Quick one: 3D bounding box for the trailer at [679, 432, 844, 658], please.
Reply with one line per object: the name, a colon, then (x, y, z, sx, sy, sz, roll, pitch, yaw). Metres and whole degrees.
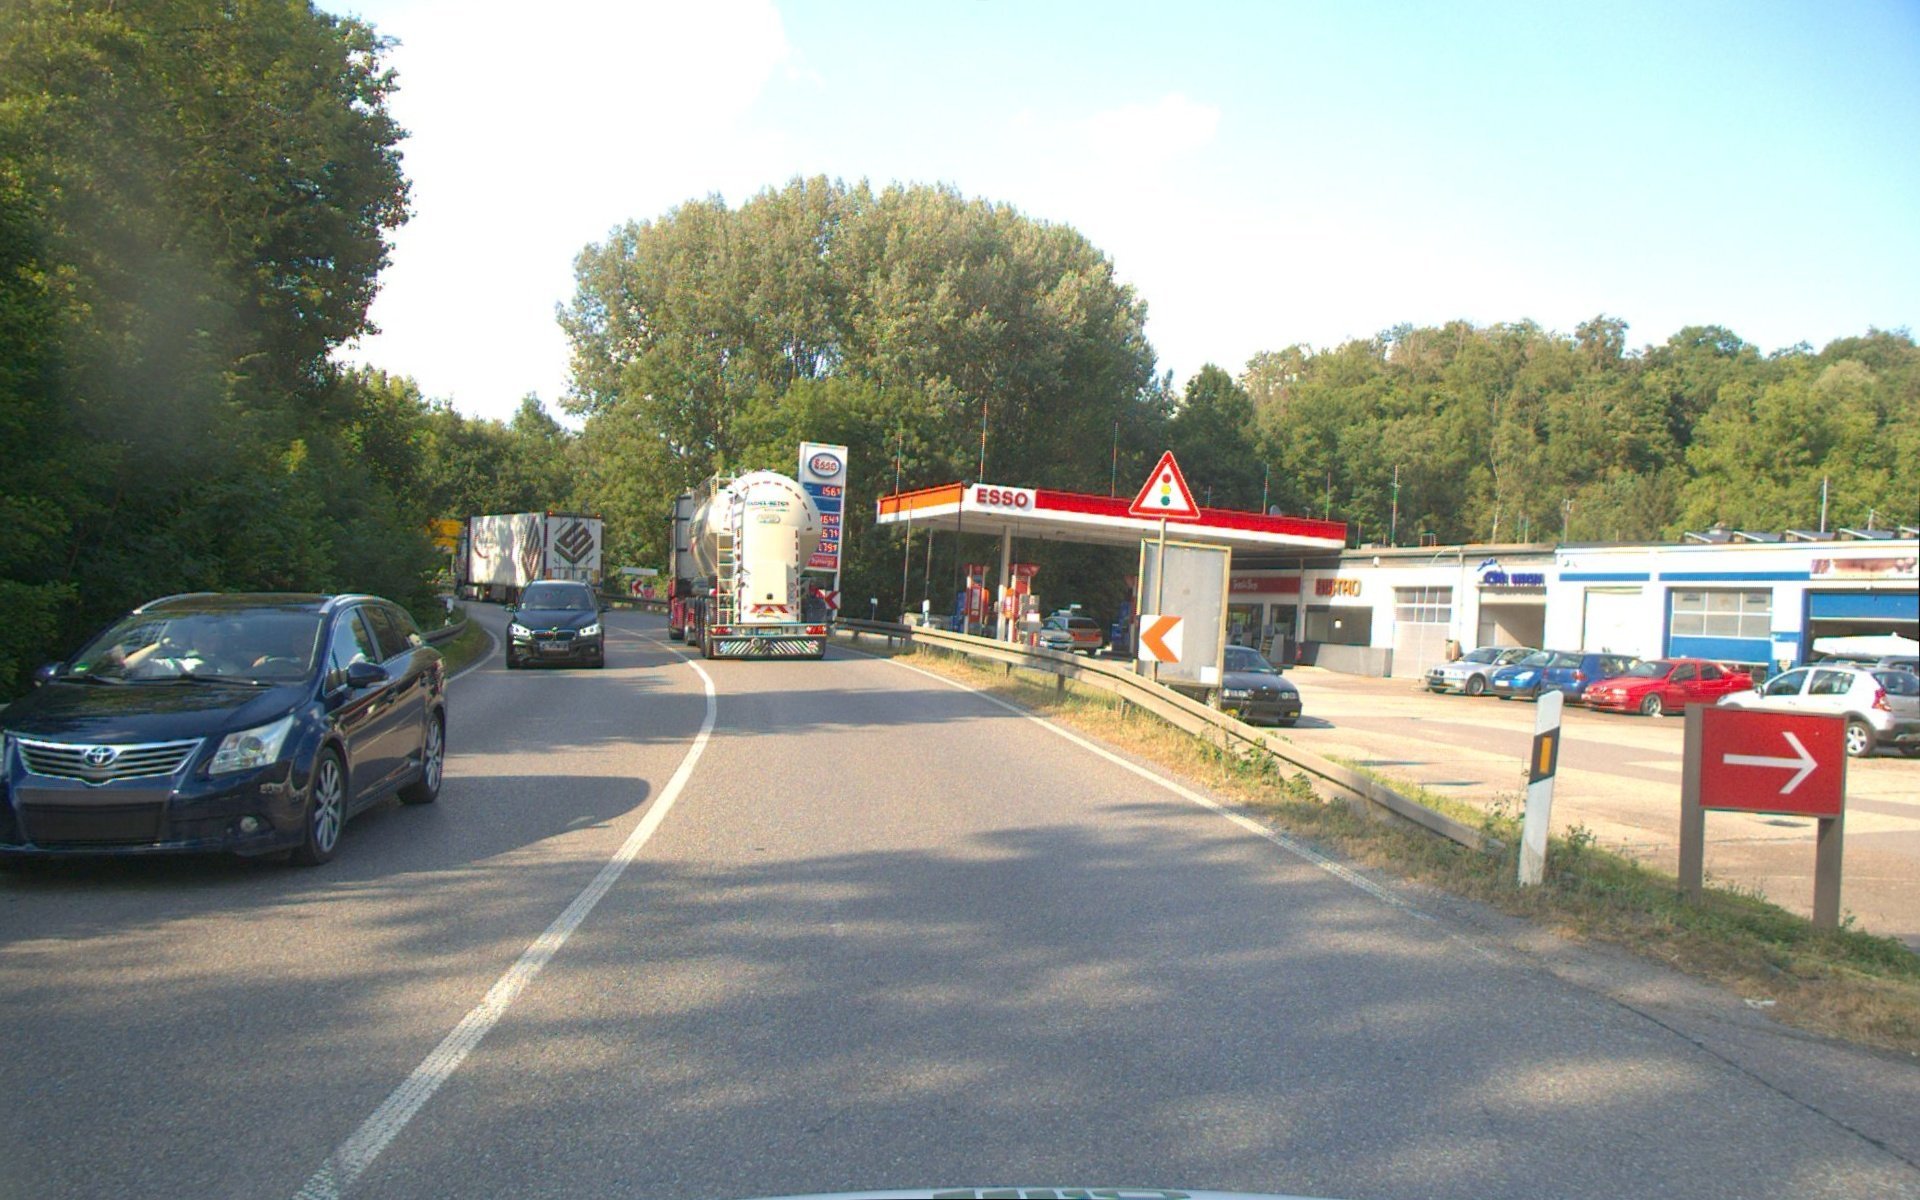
trailer: (-4.802, -1.131, 38.237, 2.836, 4.532, 9.575, 0, 0, -13)

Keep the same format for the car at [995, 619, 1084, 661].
car: (2.949, 1.474, 62.301, 1.815, 1.342, 4.364, 3, 0, -20)

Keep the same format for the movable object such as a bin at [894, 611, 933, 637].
movable object such as a bin: (-2.940, 1.509, 104.310, 1.255, 1.444, 2.527, 7, -2, -34)

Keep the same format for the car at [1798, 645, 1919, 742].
car: (19.130, 1.826, 33.213, 4.191, 1.759, 1.878, 1, 1, -24)

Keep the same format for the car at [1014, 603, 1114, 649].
car: (4.191, 1.040, 67.644, 2.062, 1.656, 5.148, 3, 0, -21)

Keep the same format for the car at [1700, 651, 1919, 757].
car: (15.845, 1.834, 30.385, 1.767, 1.624, 3.959, 1, 1, -24)

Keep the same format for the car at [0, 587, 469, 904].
car: (-4.404, 0.688, 10.259, 1.815, 1.534, 4.398, 0, 0, -6)

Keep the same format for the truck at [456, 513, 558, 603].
truck: (-22.173, -1.963, 80.767, 3.411, 4.158, 6.430, 1, -1, -28)

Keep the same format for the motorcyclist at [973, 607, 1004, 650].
motorcyclist: (1.125, 1.117, 65.576, 0.846, 1.633, 0.922, 3, -1, -21)

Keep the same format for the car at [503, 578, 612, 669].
car: (-7.669, 0.403, 31.842, 1.834, 1.617, 4.237, 0, 0, -11)

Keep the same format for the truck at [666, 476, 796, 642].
truck: (-6.191, -1.027, 43.961, 2.776, 4.105, 5.872, 1, 0, -14)

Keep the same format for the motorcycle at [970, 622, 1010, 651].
motorcycle: (1.185, 1.432, 65.347, 0.750, 1.029, 2.327, 3, 0, -21)

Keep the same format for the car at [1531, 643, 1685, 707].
car: (16.996, 1.956, 43.373, 3.493, 1.471, 1.723, 3, 0, -21)

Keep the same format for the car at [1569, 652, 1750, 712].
car: (17.506, 2.049, 41.413, 4.008, 1.371, 1.883, 1, 0, -21)

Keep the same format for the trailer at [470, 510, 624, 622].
trailer: (-18.905, -1.419, 74.837, 3.507, 4.592, 12.858, 1, -1, -29)

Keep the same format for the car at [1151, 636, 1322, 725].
car: (5.173, 1.475, 31.530, 1.792, 1.376, 4.260, 2, 0, -11)

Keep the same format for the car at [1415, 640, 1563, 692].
car: (15.294, 1.909, 47.804, 3.906, 1.378, 1.763, 2, 0, -25)

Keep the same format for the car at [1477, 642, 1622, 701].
car: (16.179, 1.964, 45.404, 3.499, 1.431, 1.681, 3, 0, -21)
